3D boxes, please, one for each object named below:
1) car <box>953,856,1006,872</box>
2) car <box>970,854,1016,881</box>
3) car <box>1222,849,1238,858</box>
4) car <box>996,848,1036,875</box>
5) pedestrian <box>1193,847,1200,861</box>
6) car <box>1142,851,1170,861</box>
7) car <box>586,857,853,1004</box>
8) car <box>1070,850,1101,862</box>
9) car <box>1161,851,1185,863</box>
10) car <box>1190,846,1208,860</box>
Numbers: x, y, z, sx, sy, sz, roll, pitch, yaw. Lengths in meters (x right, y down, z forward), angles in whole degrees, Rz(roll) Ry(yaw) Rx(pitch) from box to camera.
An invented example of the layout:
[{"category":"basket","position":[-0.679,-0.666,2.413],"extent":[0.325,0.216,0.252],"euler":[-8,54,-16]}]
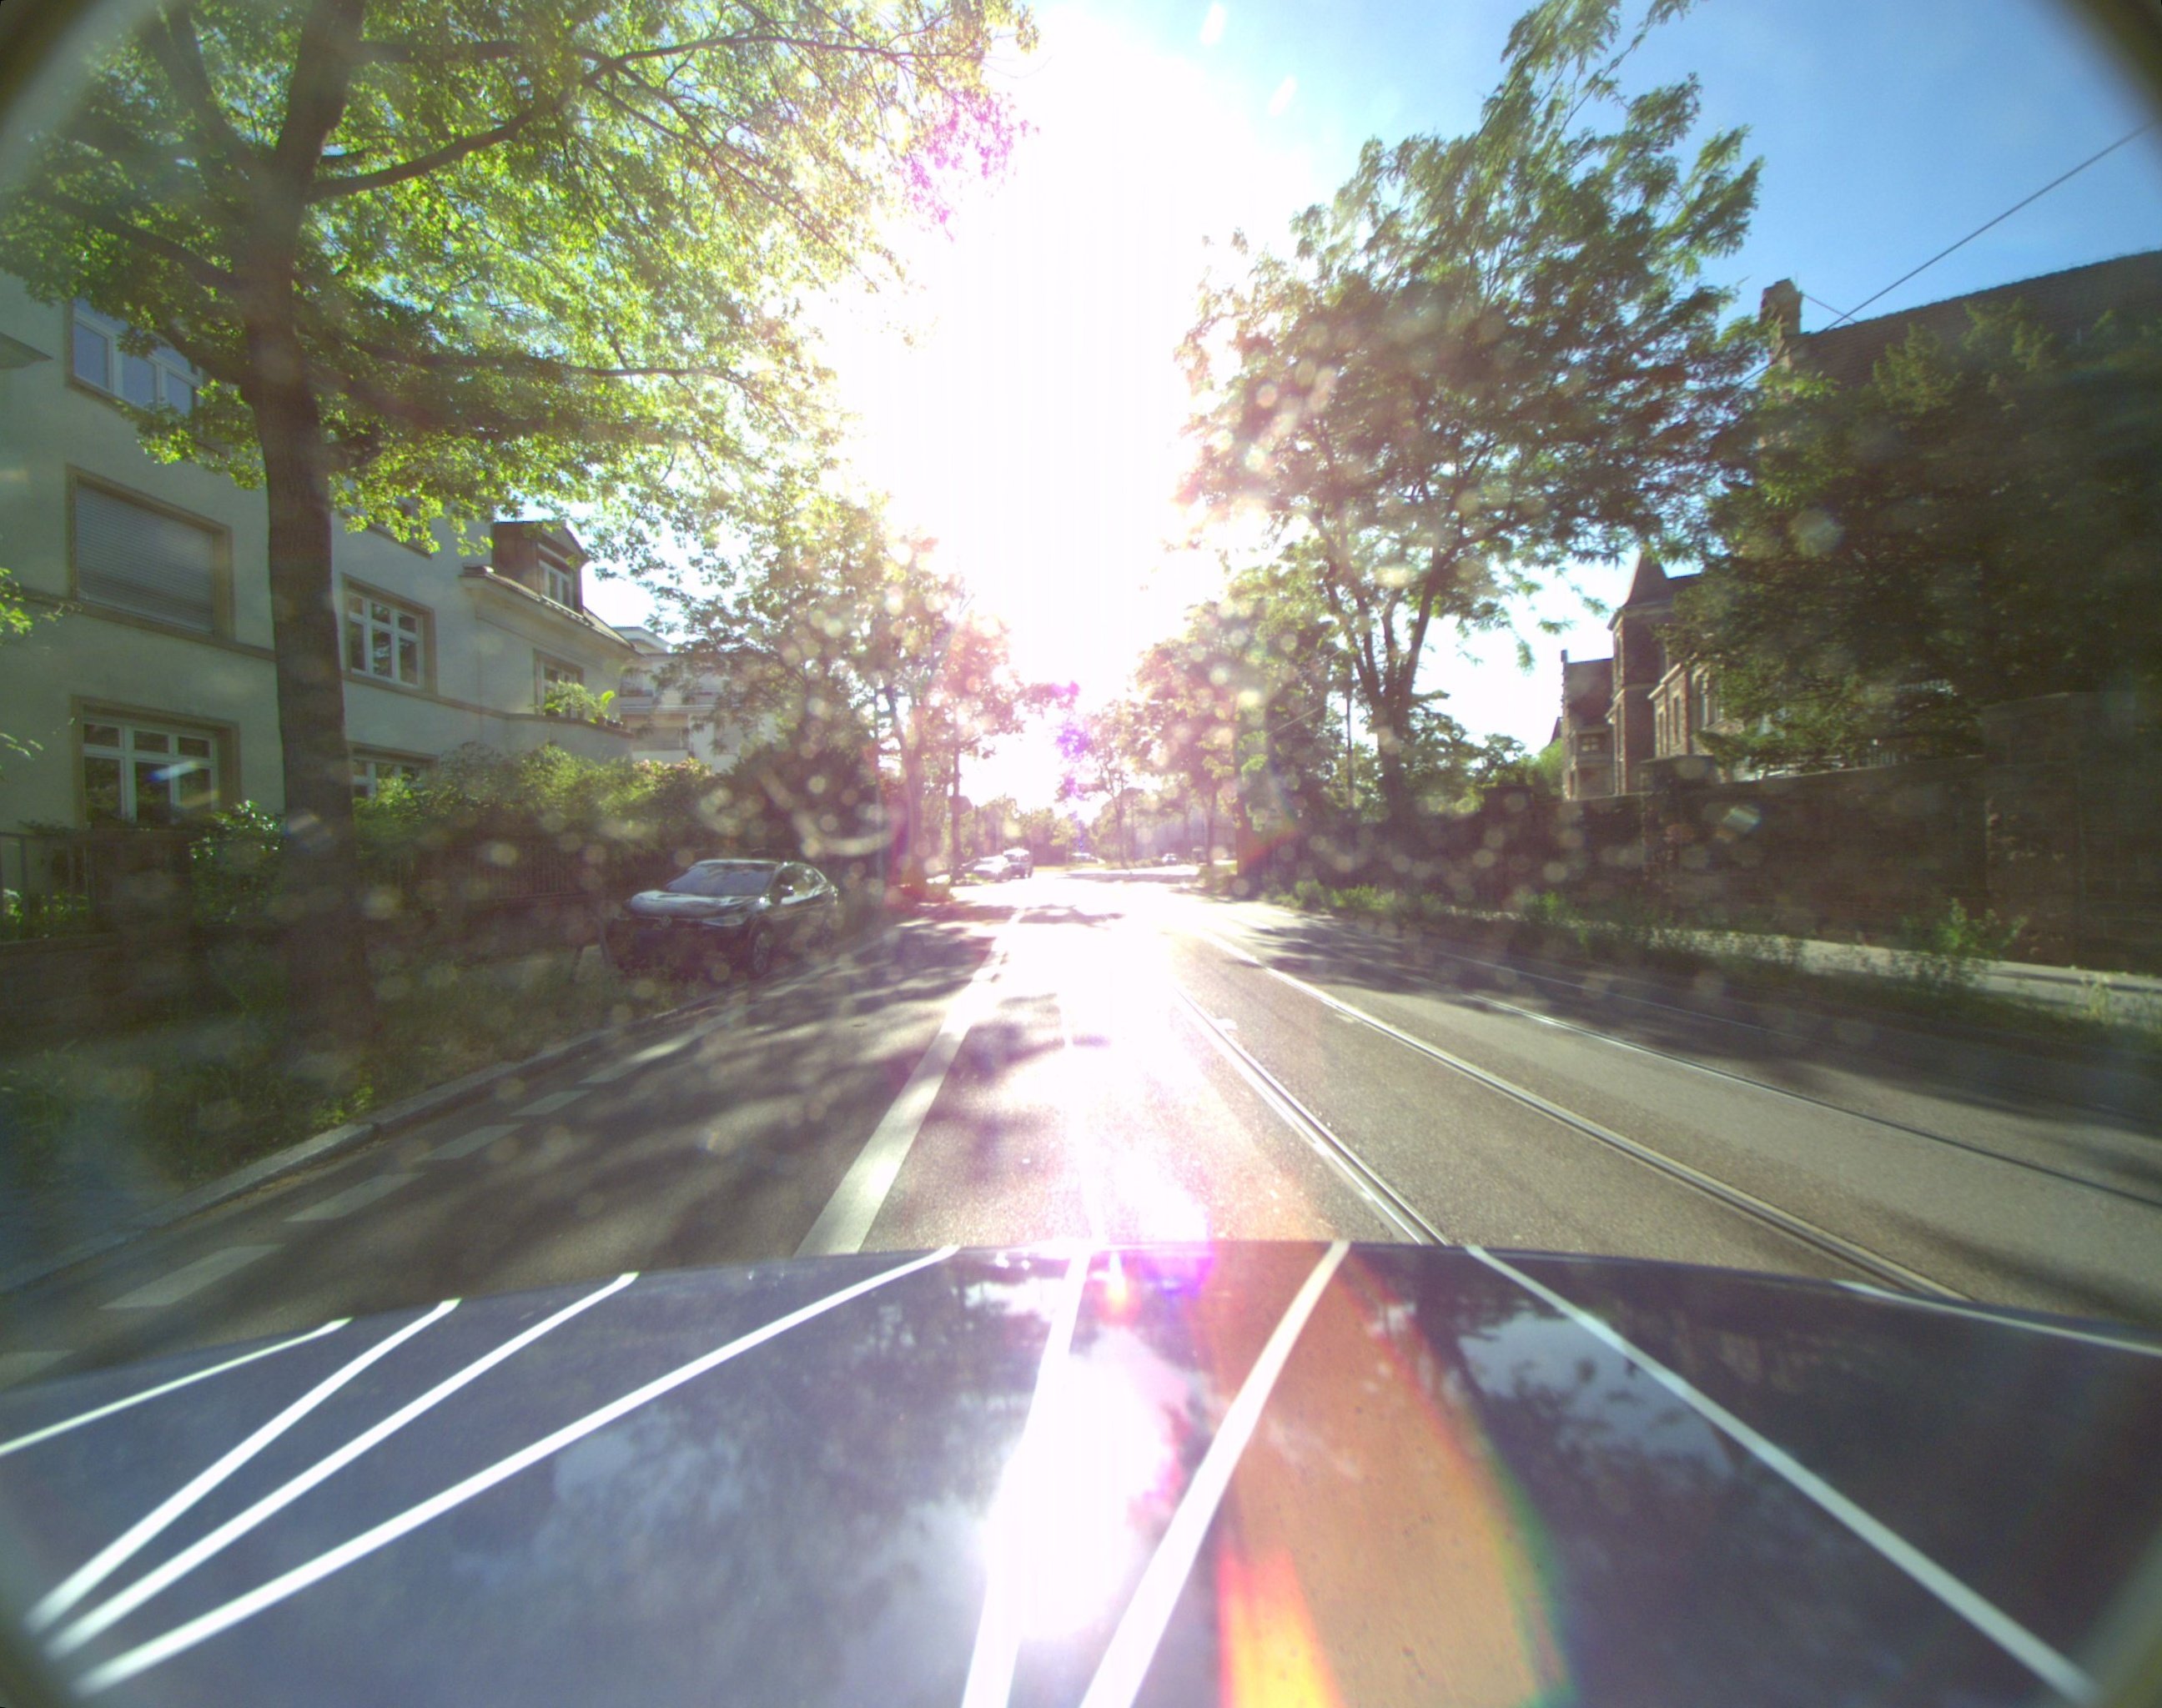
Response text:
[{"category":"car","position":[-9.300,0.890,69.659],"extent":[4.521,1.361,1.969],"euler":[-1,1,1]},{"category":"car","position":[-5.200,0.761,45.613],"extent":[1.998,1.415,4.332],"euler":[-1,1,3]},{"category":"car","position":[28.492,-0.136,145.398],"extent":[1.739,1.487,4.538],"euler":[-1,0,28]},{"category":"car","position":[-4.339,0.505,51.558],"extent":[2.027,1.736,4.753],"euler":[-1,0,4]},{"category":"pedestrian","position":[15.785,0.033,103.873],"extent":[0.878,1.854,1.021],"euler":[-1,1,12]},{"category":"car","position":[12.728,0.314,128.952],"extent":[4.459,1.482,2.008],"euler":[-1,4,1]},{"category":"car","position":[-5.131,0.948,11.665],"extent":[1.809,1.684,4.728],"euler":[2,0,0]},{"category":"car","position":[0.835,0.318,128.928],"extent":[5.209,1.874,2.100],"euler":[-2,0,1]},{"category":"car","position":[12.065,0.346,99.263],"extent":[2.002,1.457,5.439],"euler":[3,2,18]},{"category":"car","position":[18.117,-0.167,116.332],"extent":[1.996,2.083,4.722],"euler":[-1,0,17]}]
